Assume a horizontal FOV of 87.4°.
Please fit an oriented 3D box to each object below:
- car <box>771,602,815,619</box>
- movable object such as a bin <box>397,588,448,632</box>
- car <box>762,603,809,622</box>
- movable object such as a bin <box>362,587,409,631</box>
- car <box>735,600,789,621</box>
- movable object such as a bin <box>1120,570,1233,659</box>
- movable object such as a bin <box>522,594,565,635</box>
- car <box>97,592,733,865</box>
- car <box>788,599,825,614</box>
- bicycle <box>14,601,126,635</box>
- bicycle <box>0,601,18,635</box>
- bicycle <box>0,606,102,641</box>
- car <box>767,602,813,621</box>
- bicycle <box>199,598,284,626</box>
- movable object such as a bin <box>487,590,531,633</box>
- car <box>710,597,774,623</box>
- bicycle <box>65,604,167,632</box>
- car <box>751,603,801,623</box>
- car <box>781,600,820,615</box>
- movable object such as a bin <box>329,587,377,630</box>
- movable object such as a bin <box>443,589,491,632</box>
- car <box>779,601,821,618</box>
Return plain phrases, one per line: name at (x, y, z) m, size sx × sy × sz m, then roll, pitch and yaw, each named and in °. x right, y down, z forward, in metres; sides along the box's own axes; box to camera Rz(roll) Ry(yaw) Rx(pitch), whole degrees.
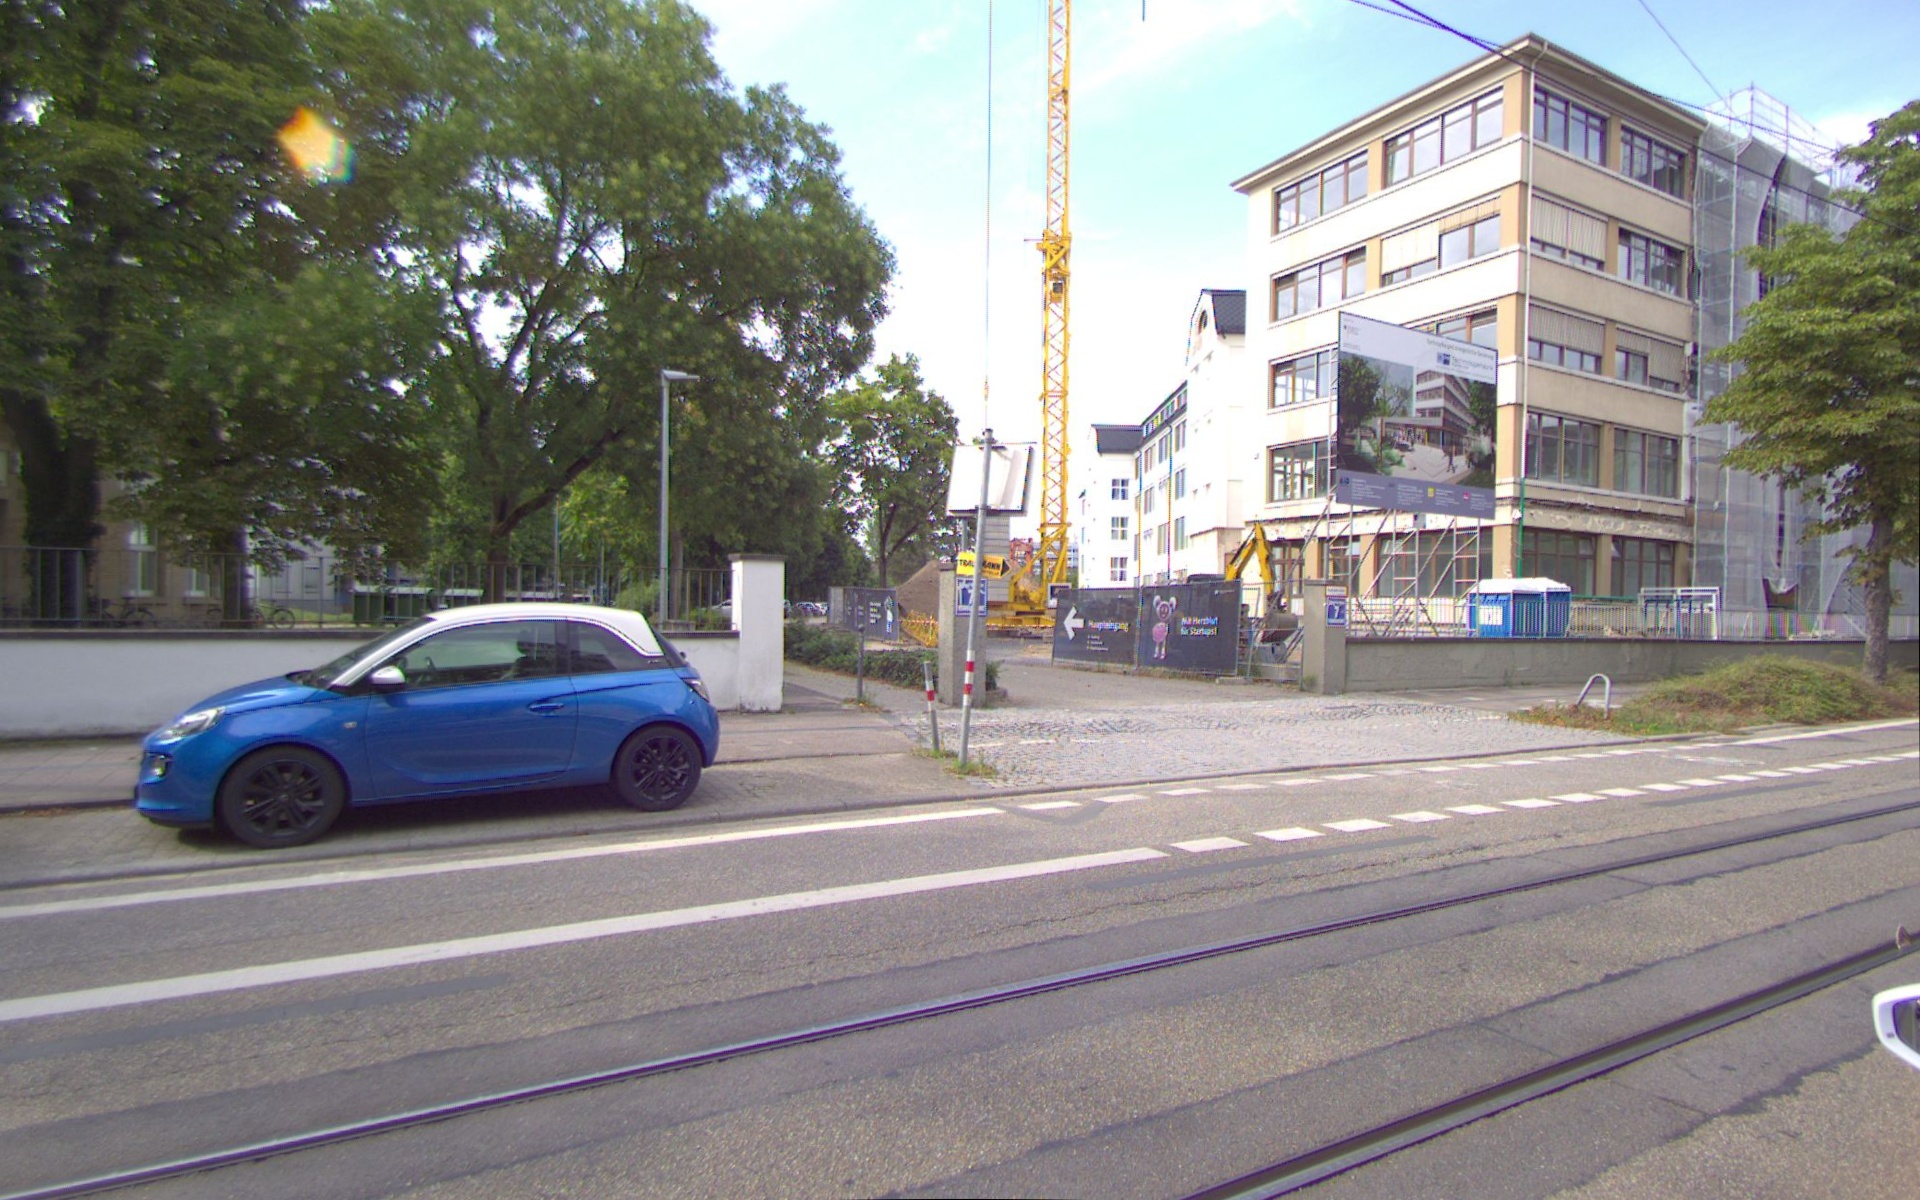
car at (-15.295, 0.950, 92.257) m, size 3.927 × 1.518 × 1.911 m, roll 1°, pitch 0°, yaw -9°
movable object such as a bin at (-17.862, 0.320, 33.393) m, size 1.180 × 1.393 × 0.970 m, roll 1°, pitch 1°, yaw -3°
car at (-14.866, 1.032, 85.748) m, size 3.927 × 1.518 × 1.911 m, roll 1°, pitch 0°, yaw -9°
movable object such as a bin at (-19.084, 0.292, 33.393) m, size 1.001 × 1.393 × 0.970 m, roll 1°, pitch 1°, yaw -3°
car at (-14.916, 0.786, 75.885) m, size 3.927 × 1.518 × 1.911 m, roll 1°, pitch 0°, yaw -9°
movable object such as a bin at (5.396, 0.354, 25.161) m, size 1.935 × 2.095 × 1.979 m, roll 1°, pitch 0°, yaw -27°
movable object such as a bin at (-13.786, 0.468, 33.247) m, size 1.073 × 1.290 × 0.861 m, roll 1°, pitch 1°, yaw -3°
car at (-3.679, 0.748, 7.287) m, size 3.634 × 1.507 × 1.685 m, roll 1°, pitch 1°, yaw -30°
car at (-16.546, 0.731, 108.405) m, size 3.927 × 1.518 × 1.911 m, roll 1°, pitch 0°, yaw -9°
bicycle at (-22.150, 0.439, 25.036) m, size 2.010 × 0.783 × 0.713 m, roll 1°, pitch 1°, yaw -10°
bicycle at (-21.884, 0.374, 21.826) m, size 2.010 × 0.718 × 0.713 m, roll 1°, pitch 1°, yaw -10°
bicycle at (-21.962, 0.569, 24.096) m, size 2.010 × 0.783 × 0.713 m, roll 1°, pitch 1°, yaw -10°
car at (-14.996, 0.998, 88.552) m, size 3.927 × 1.518 × 1.911 m, roll 1°, pitch 0°, yaw -9°
bicycle at (-22.178, 0.371, 31.016) m, size 2.010 × 0.783 × 0.713 m, roll 1°, pitch 1°, yaw -10°
movable object such as a bin at (-15.020, 0.386, 33.469) m, size 1.073 × 1.393 × 0.861 m, roll 1°, pitch 1°, yaw -3°
car at (-13.963, 0.632, 64.514) m, size 3.927 × 1.518 × 1.911 m, roll 1°, pitch 0°, yaw -9°
bicycle at (-22.468, 0.476, 26.785) m, size 2.028 × 0.718 × 0.707 m, roll 1°, pitch 1°, yaw -37°
car at (-15.078, 1.064, 82.314) m, size 3.927 × 1.518 × 1.911 m, roll 1°, pitch 0°, yaw -9°
car at (-16.566, 0.771, 104.287) m, size 3.927 × 1.518 × 1.911 m, roll 1°, pitch 0°, yaw -9°
movable object such as a bin at (-20.153, 0.267, 33.359) m, size 1.001 × 1.393 × 0.970 m, roll 1°, pitch 1°, yaw -3°
movable object such as a bin at (-16.442, 0.352, 33.519) m, size 1.180 × 1.393 × 0.861 m, roll 1°, pitch 1°, yaw -3°
car at (-15.094, 0.917, 94.923) m, size 3.927 × 1.518 × 1.911 m, roll 1°, pitch 0°, yaw -9°
